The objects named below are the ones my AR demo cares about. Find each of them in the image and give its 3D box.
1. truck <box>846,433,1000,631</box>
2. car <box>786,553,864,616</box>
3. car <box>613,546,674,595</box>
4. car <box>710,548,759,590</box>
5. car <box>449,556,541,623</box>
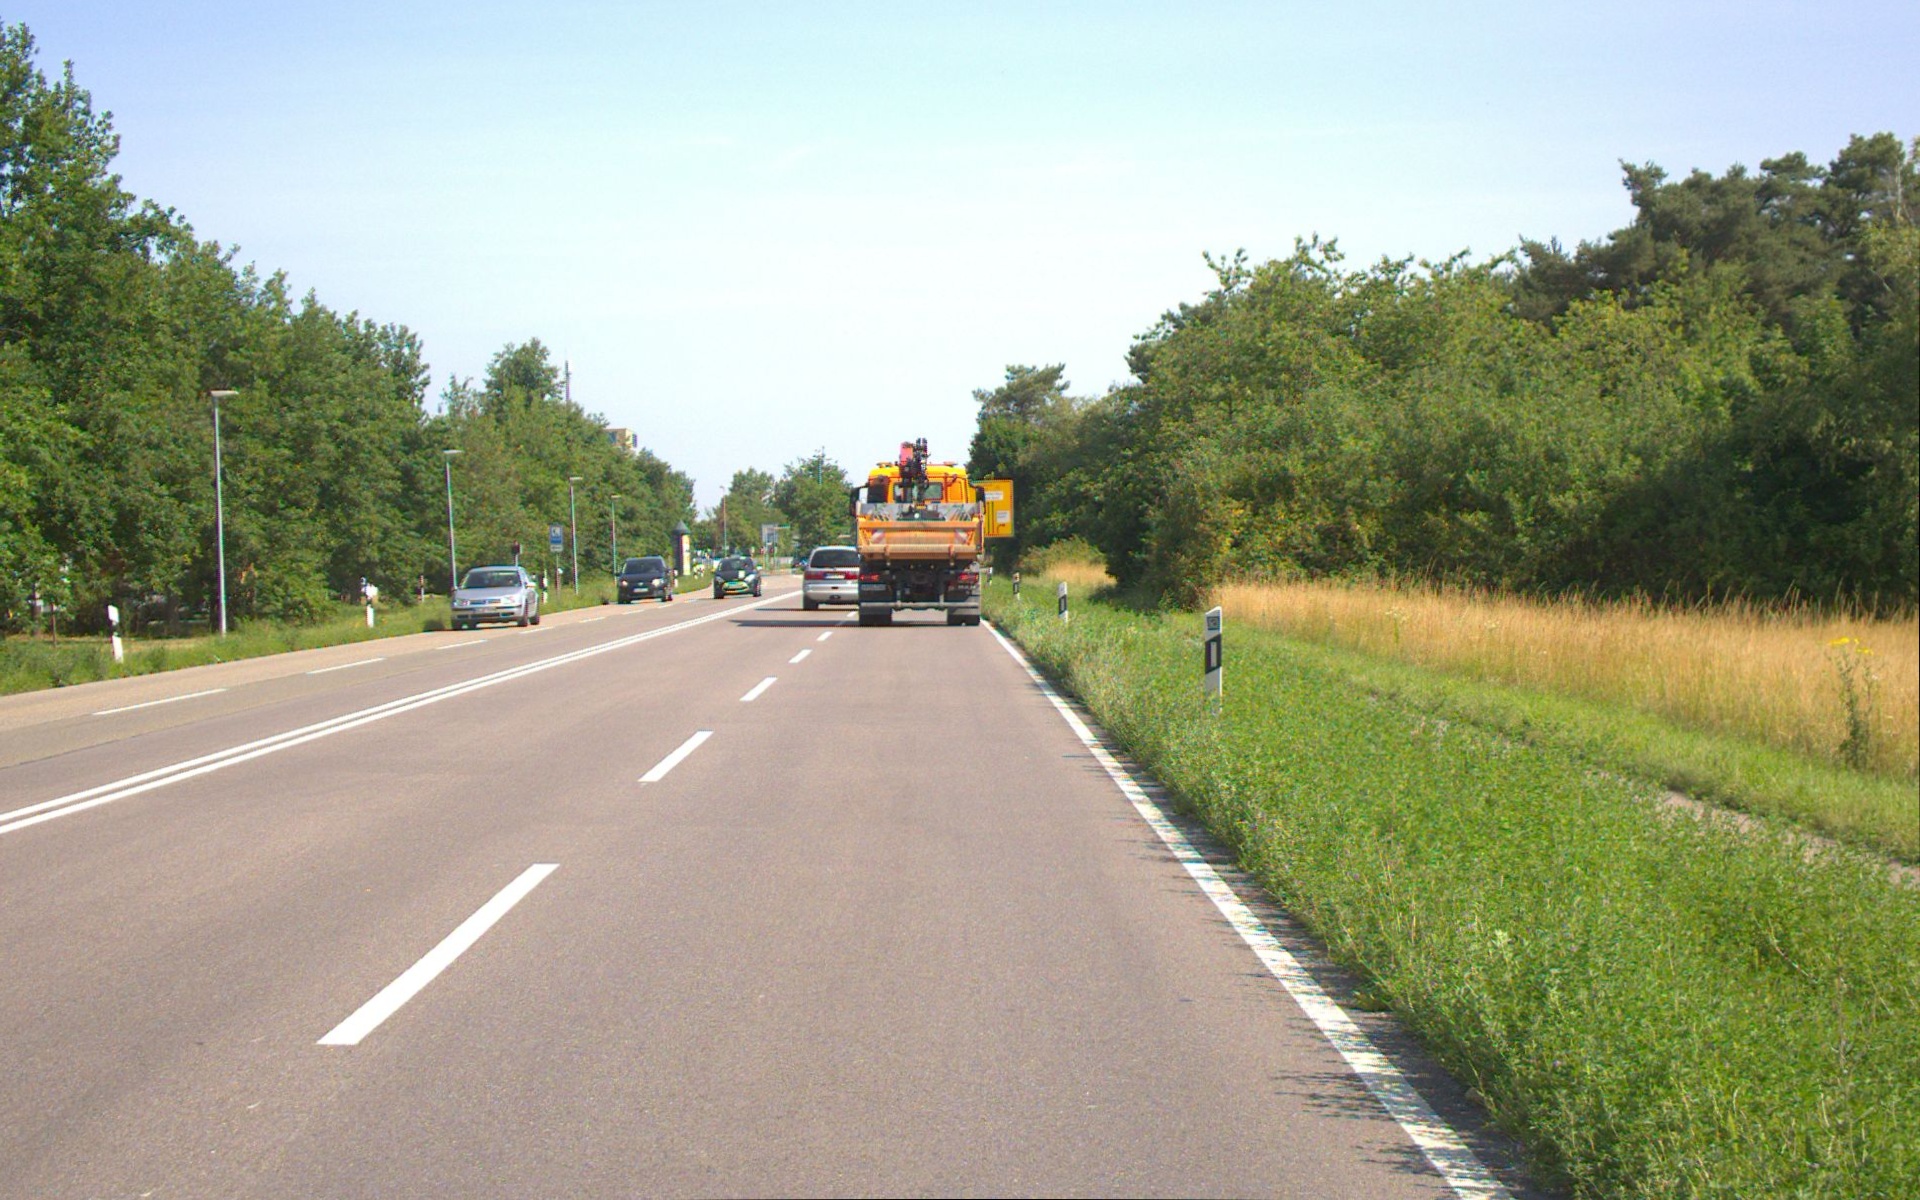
[{"bbox_3d":[-0.857,-1.394,71.543,2.871,3.867,7.401,1,1,-3],"label":"truck"},{"bbox_3d":[-3.591,-0.438,90.892,1.993,1.578,4.001,-1,1,-3],"label":"car"},{"bbox_3d":[-11.401,-1.076,123.921,1.825,1.666,4.390,-3,1,-2],"label":"car"},{"bbox_3d":[-8.219,-1.145,125.613,1.517,1.445,3.775,-3,1,-1],"label":"car"},{"bbox_3d":[-10.785,-0.267,79.966,1.598,1.437,4.000,-3,1,-1],"label":"car"}]
